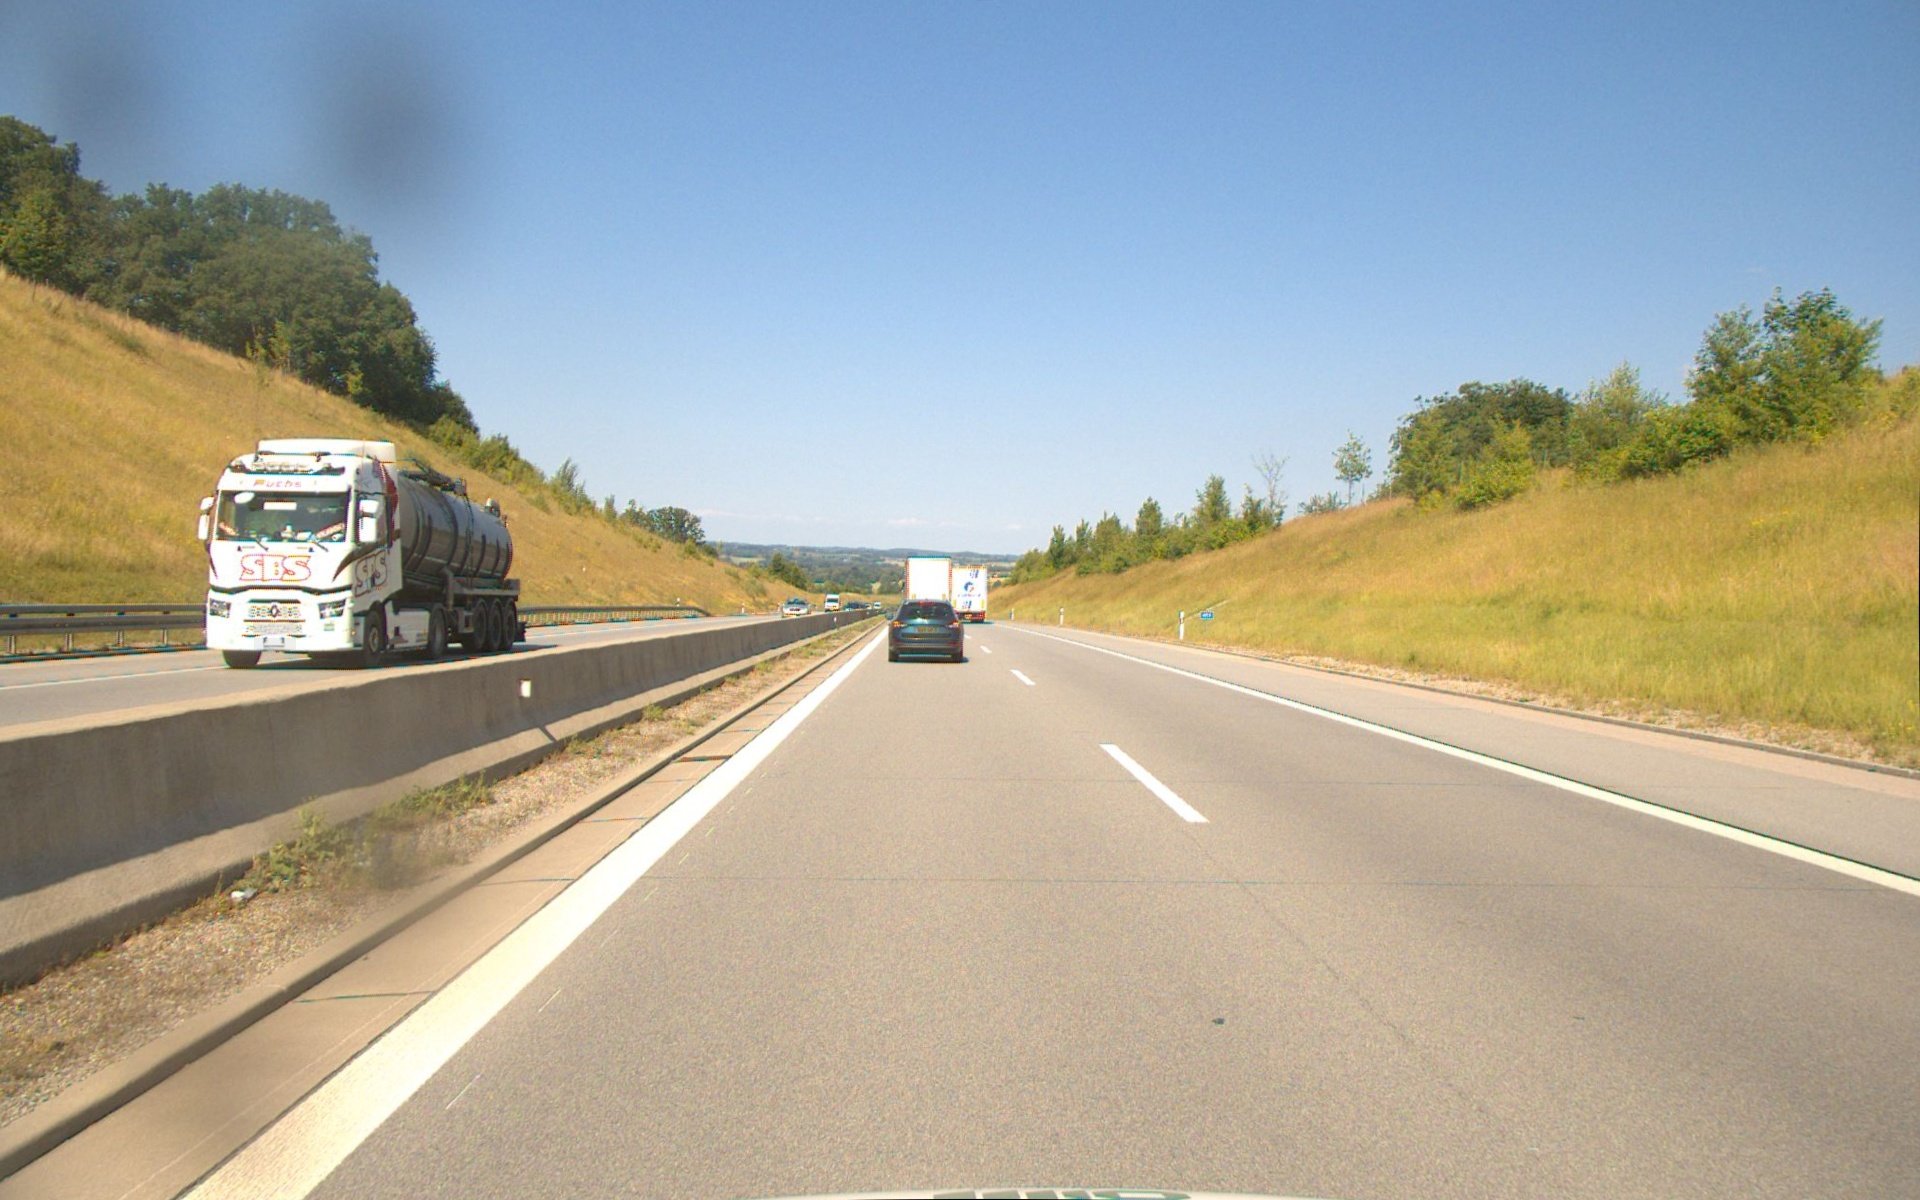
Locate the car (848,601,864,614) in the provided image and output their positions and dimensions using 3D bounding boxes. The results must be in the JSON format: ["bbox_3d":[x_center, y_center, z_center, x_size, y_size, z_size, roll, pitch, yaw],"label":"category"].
[{"bbox_3d":[-12.460,0.859,198.584,1.816,1.487,4.766,1,0,-3],"label":"car"}]

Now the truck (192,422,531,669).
[{"bbox_3d":[-11.461,-0.874,33.476,2.701,4.010,12.442,1,0,-2],"label":"truck"}]

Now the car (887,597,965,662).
[{"bbox_3d":[-0.863,0.673,39.596,1.741,1.466,3.786,0,0,-3],"label":"car"}]

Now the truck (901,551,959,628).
[{"bbox_3d":[-1.757,-0.610,102.424,3.144,4.458,11.234,1,0,1],"label":"truck"}]

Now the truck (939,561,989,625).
[{"bbox_3d":[0.337,-0.473,123.122,3.530,4.458,11.233,1,0,0],"label":"truck"}]

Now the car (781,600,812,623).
[{"bbox_3d":[-10.943,0.733,111.060,1.816,1.487,4.725,1,0,-3],"label":"car"}]
